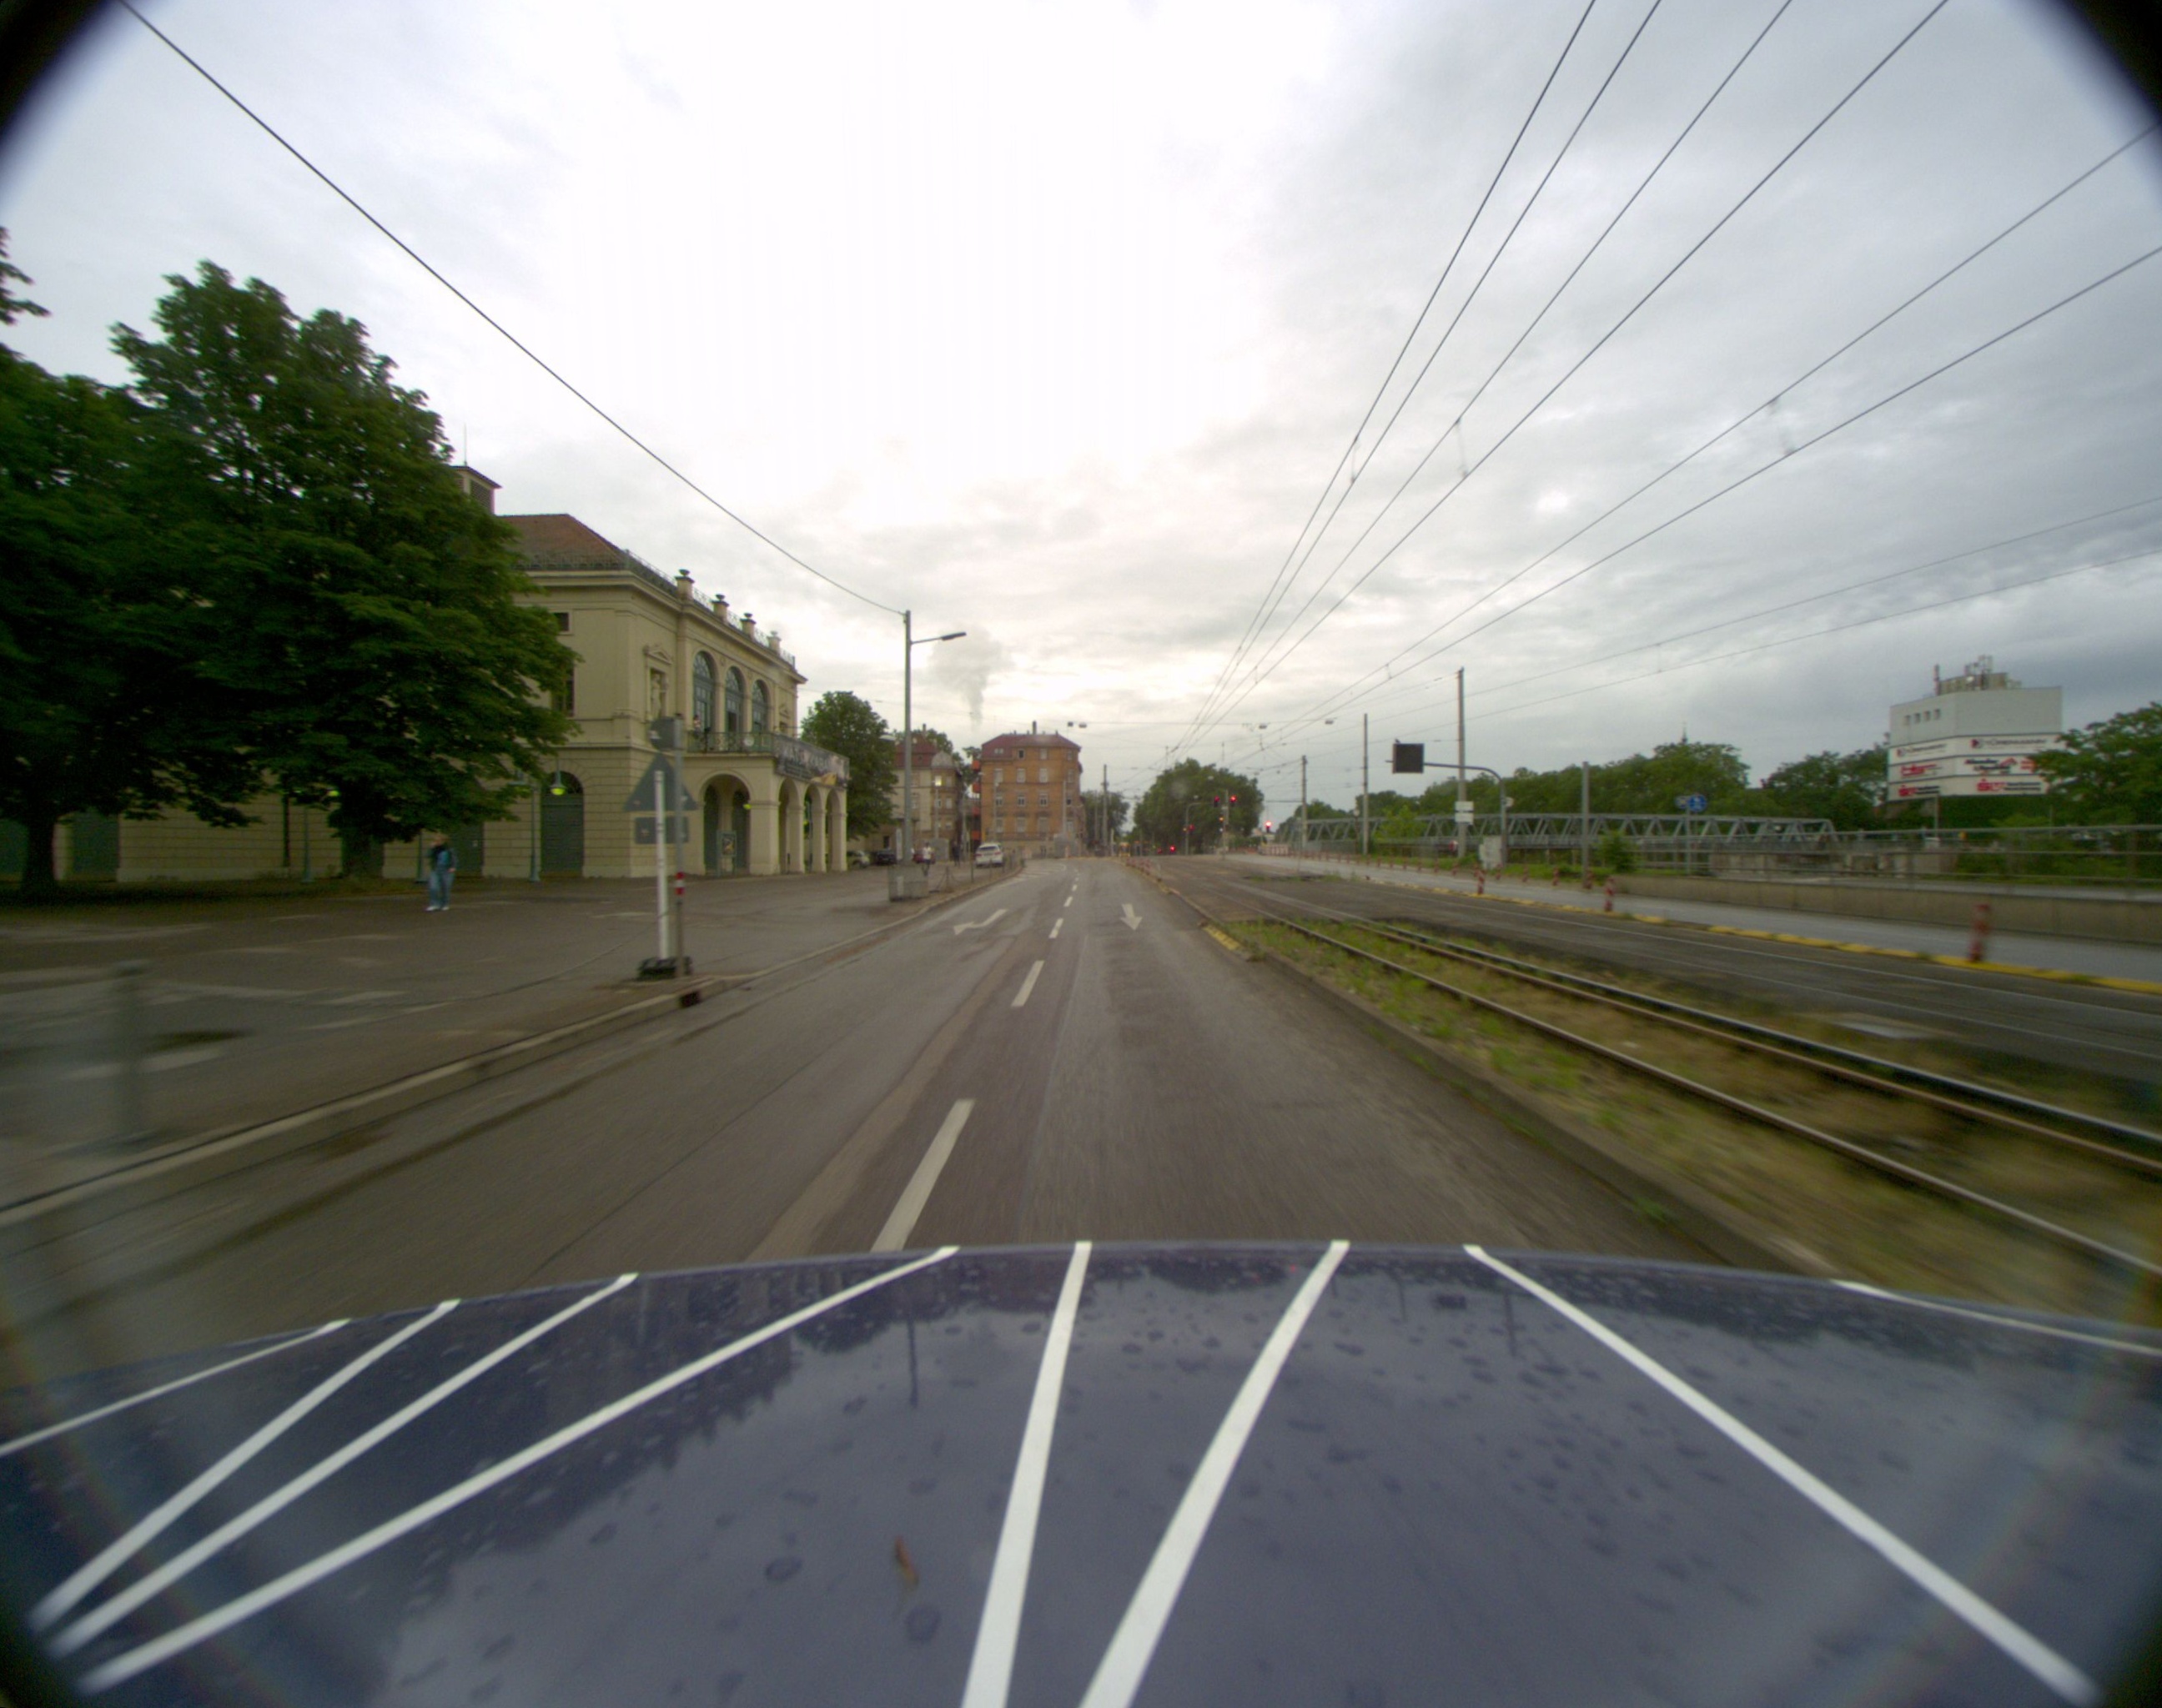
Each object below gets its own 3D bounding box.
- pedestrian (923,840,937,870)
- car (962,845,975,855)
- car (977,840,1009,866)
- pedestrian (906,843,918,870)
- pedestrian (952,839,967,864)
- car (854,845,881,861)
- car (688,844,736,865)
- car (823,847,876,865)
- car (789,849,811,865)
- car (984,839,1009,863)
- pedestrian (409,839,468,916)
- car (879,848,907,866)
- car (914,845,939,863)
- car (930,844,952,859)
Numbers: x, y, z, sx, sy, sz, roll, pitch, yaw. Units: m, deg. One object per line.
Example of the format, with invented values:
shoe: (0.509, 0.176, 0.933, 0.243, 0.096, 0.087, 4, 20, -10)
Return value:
pedestrian: (-8.860, 0.051, 44.596, 0.595, 1.726, 0.839, 0, 2, -1)
car: (-18.187, -0.687, 123.013, 1.831, 1.573, 3.997, 0, 1, -4)
car: (-6.041, -0.118, 52.807, 1.844, 1.630, 4.141, -4, 1, -3)
pedestrian: (-10.059, 0.146, 45.245, 0.629, 1.635, 0.780, 0, 2, -5)
pedestrian: (-8.836, -0.170, 55.224, 0.783, 1.797, 0.696, -3, 2, -43)
car: (-20.388, -0.101, 72.626, 1.682, 1.489, 3.997, 0, 1, -5)
car: (-32.545, 0.018, 66.994, 3.989, 1.826, 1.835, 0, 1, 28)
car: (-18.856, 0.154, 62.034, 3.742, 1.461, 1.729, 0, 1, 4)
car: (-26.558, 0.236, 71.910, 1.724, 1.434, 3.993, -1, 1, -17)
car: (-6.559, -0.267, 58.841, 1.721, 1.630, 4.139, -4, 2, -7)
pedestrian: (-13.661, 0.478, 16.165, 0.863, 1.581, 0.669, 2, 1, 27)
car: (-17.677, 0.267, 71.576, 1.864, 1.539, 4.063, -2, 1, -5)
car: (-14.446, -0.034, 71.147, 1.831, 1.573, 3.997, 0, 1, -4)
car: (-15.125, -0.328, 82.270, 1.831, 1.573, 3.997, 0, 1, -4)
